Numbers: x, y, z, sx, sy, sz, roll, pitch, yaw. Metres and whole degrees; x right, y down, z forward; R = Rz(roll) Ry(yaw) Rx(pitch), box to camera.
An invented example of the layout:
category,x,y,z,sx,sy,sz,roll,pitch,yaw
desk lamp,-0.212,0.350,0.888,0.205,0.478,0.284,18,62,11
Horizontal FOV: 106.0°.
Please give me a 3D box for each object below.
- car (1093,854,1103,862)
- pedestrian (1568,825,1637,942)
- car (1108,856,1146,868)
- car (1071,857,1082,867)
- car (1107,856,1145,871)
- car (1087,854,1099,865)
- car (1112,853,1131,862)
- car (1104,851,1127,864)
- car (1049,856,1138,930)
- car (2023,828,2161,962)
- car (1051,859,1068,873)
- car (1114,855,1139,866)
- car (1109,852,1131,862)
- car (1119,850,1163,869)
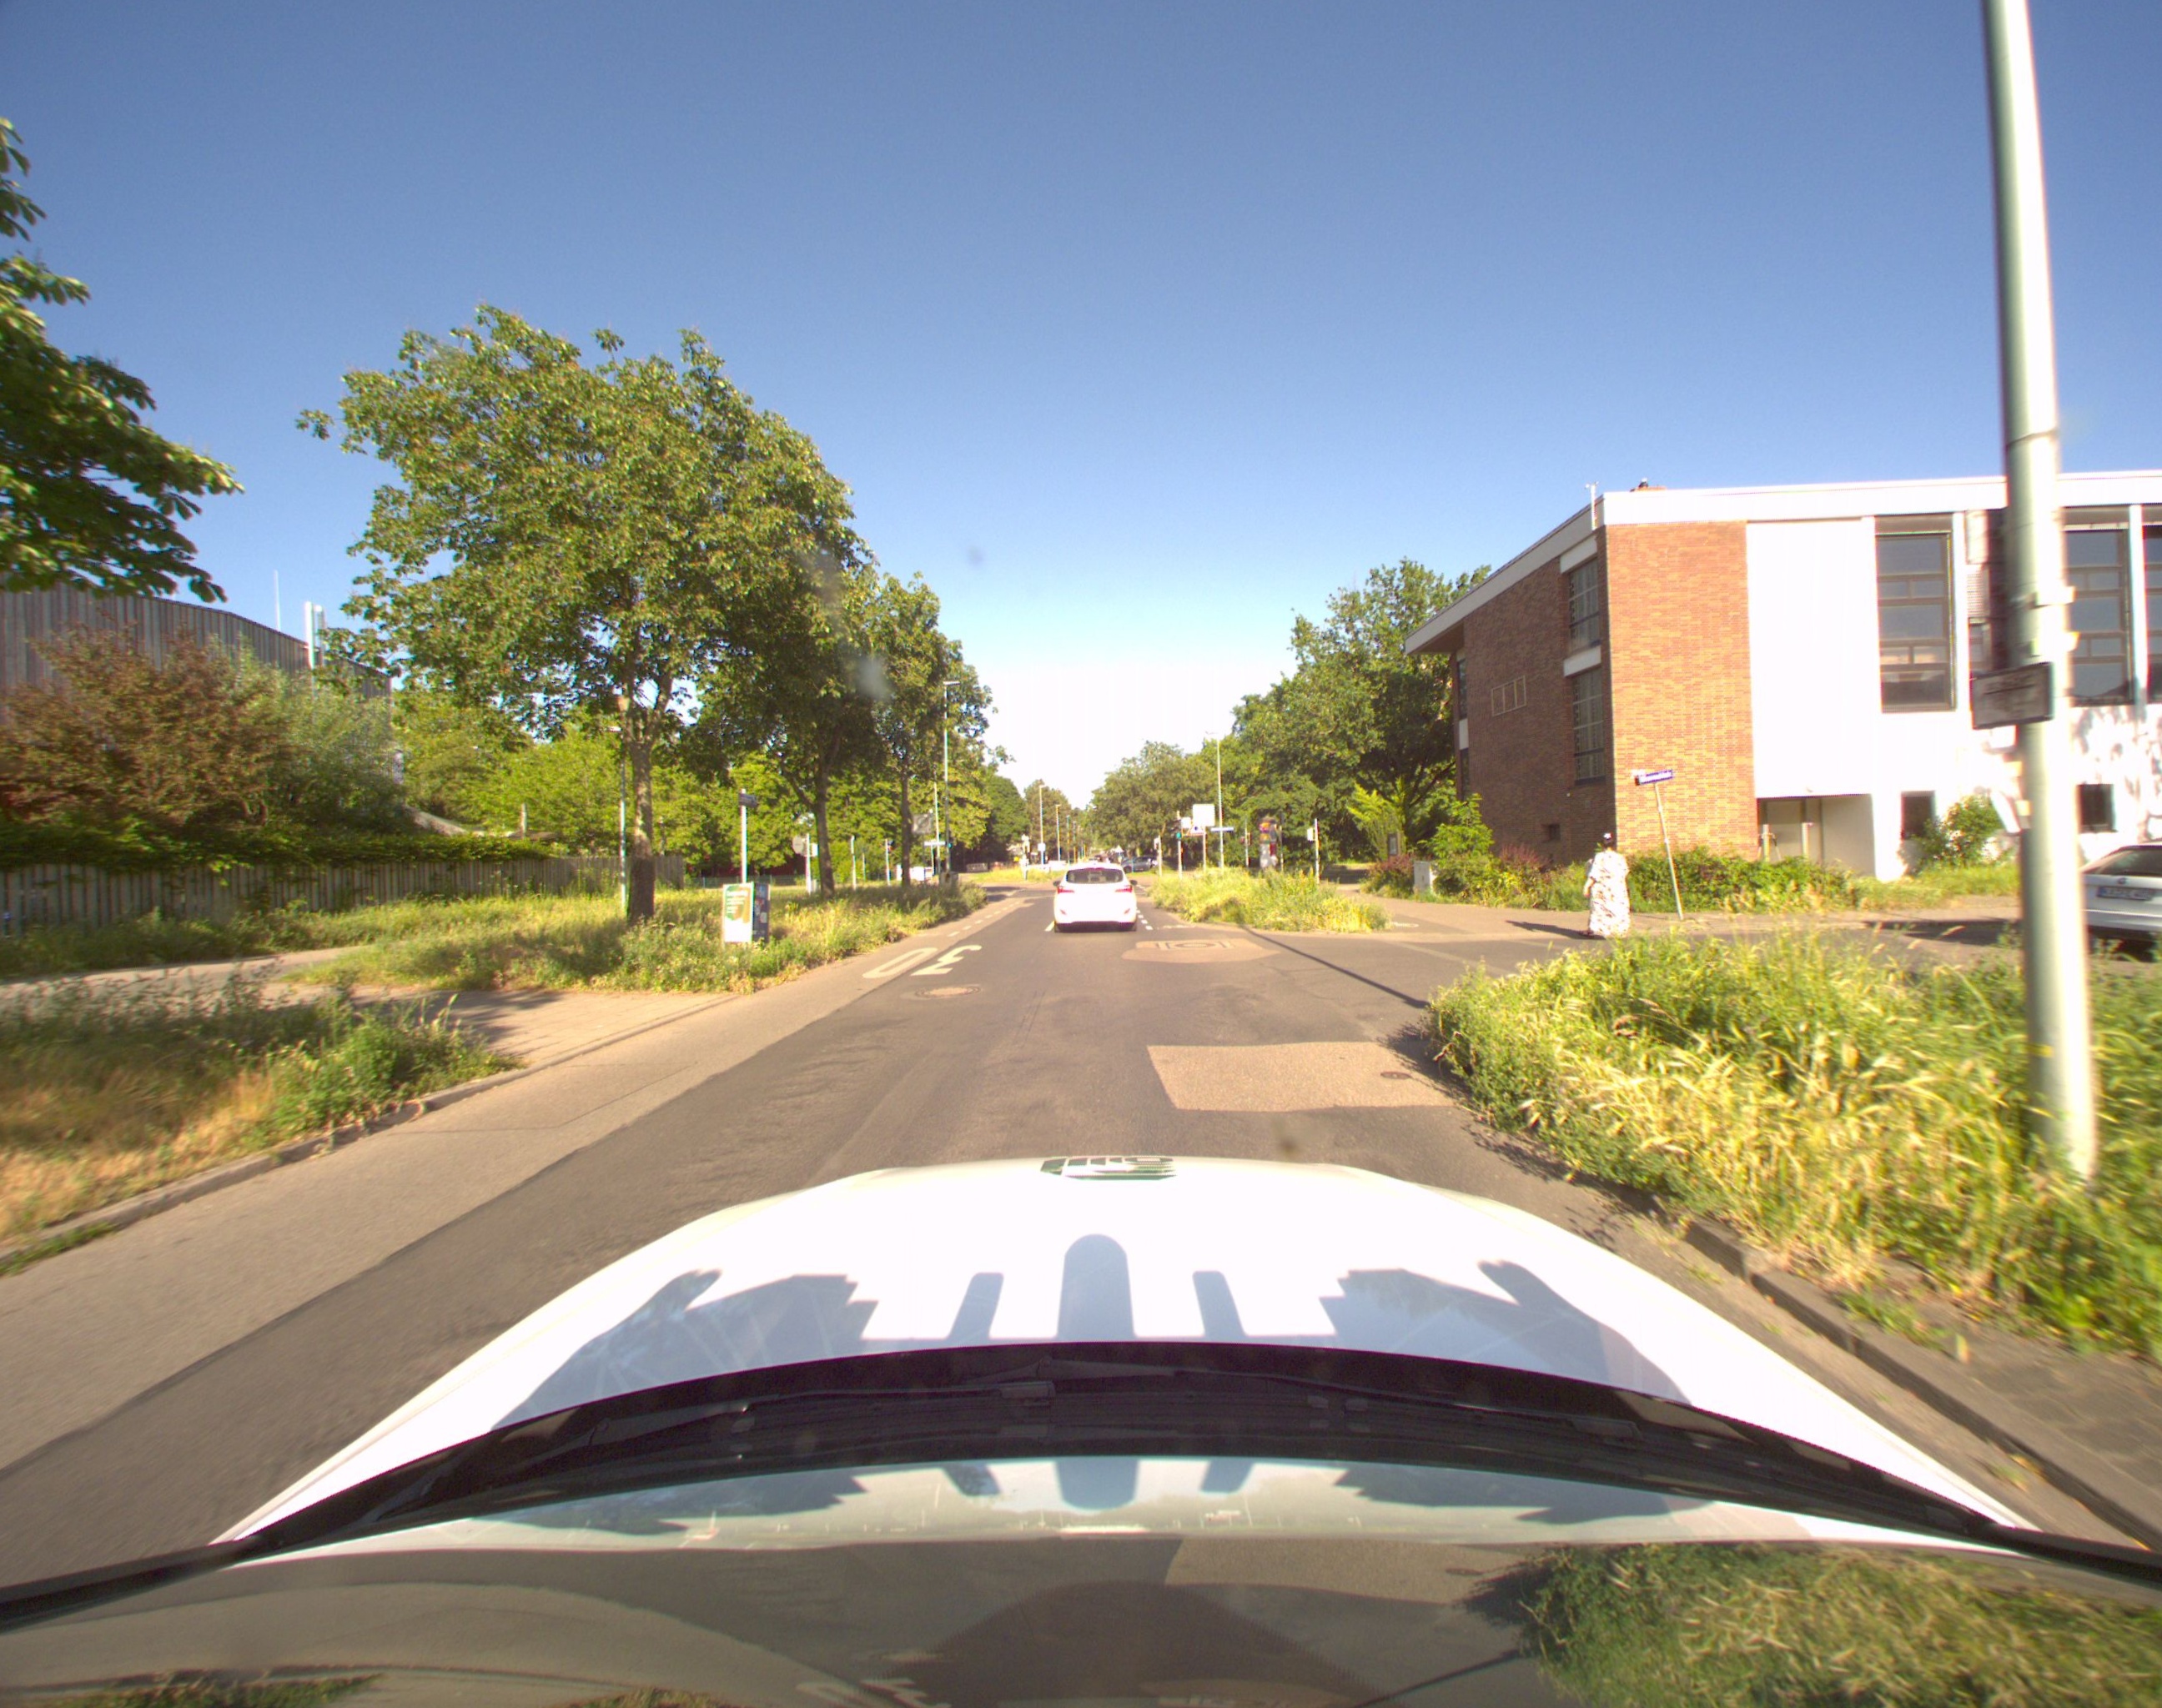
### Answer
category,x,y,z,sx,sy,sz,roll,pitch,yaw
car,3.750,0.923,180.354,1.986,1.816,4.001,-1,-1,2
pedestrian,8.528,0.470,13.337,0.890,1.822,0.741,-1,-1,33
car,6.749,1.214,119.446,5.593,1.684,1.948,-1,-1,1
car,-0.844,1.604,156.847,1.986,1.816,4.002,-1,0,2
car,5.329,1.096,96.312,4.479,1.630,1.857,-2,0,3
car,2.085,0.996,138.804,1.986,1.816,4.002,-1,0,2
car,7.961,0.712,160.496,3.805,1.767,1.864,-1,-1,1
car,5.829,0.578,136.351,3.805,2.098,1.864,-1,-1,1
car,0.313,0.810,18.623,1.783,1.463,3.964,-1,0,1
car,14.467,0.421,9.775,4.178,1.502,1.807,-2,1,1
car,-2.810,1.571,108.560,1.986,1.816,4.001,-1,-1,2
car,7.014,0.961,126.284,3.805,1.684,1.864,-1,-1,1
car,7.818,0.582,163.650,4.286,1.908,1.864,-1,-1,1
car,6.229,0.544,84.283,4.479,1.783,1.857,-2,0,3
